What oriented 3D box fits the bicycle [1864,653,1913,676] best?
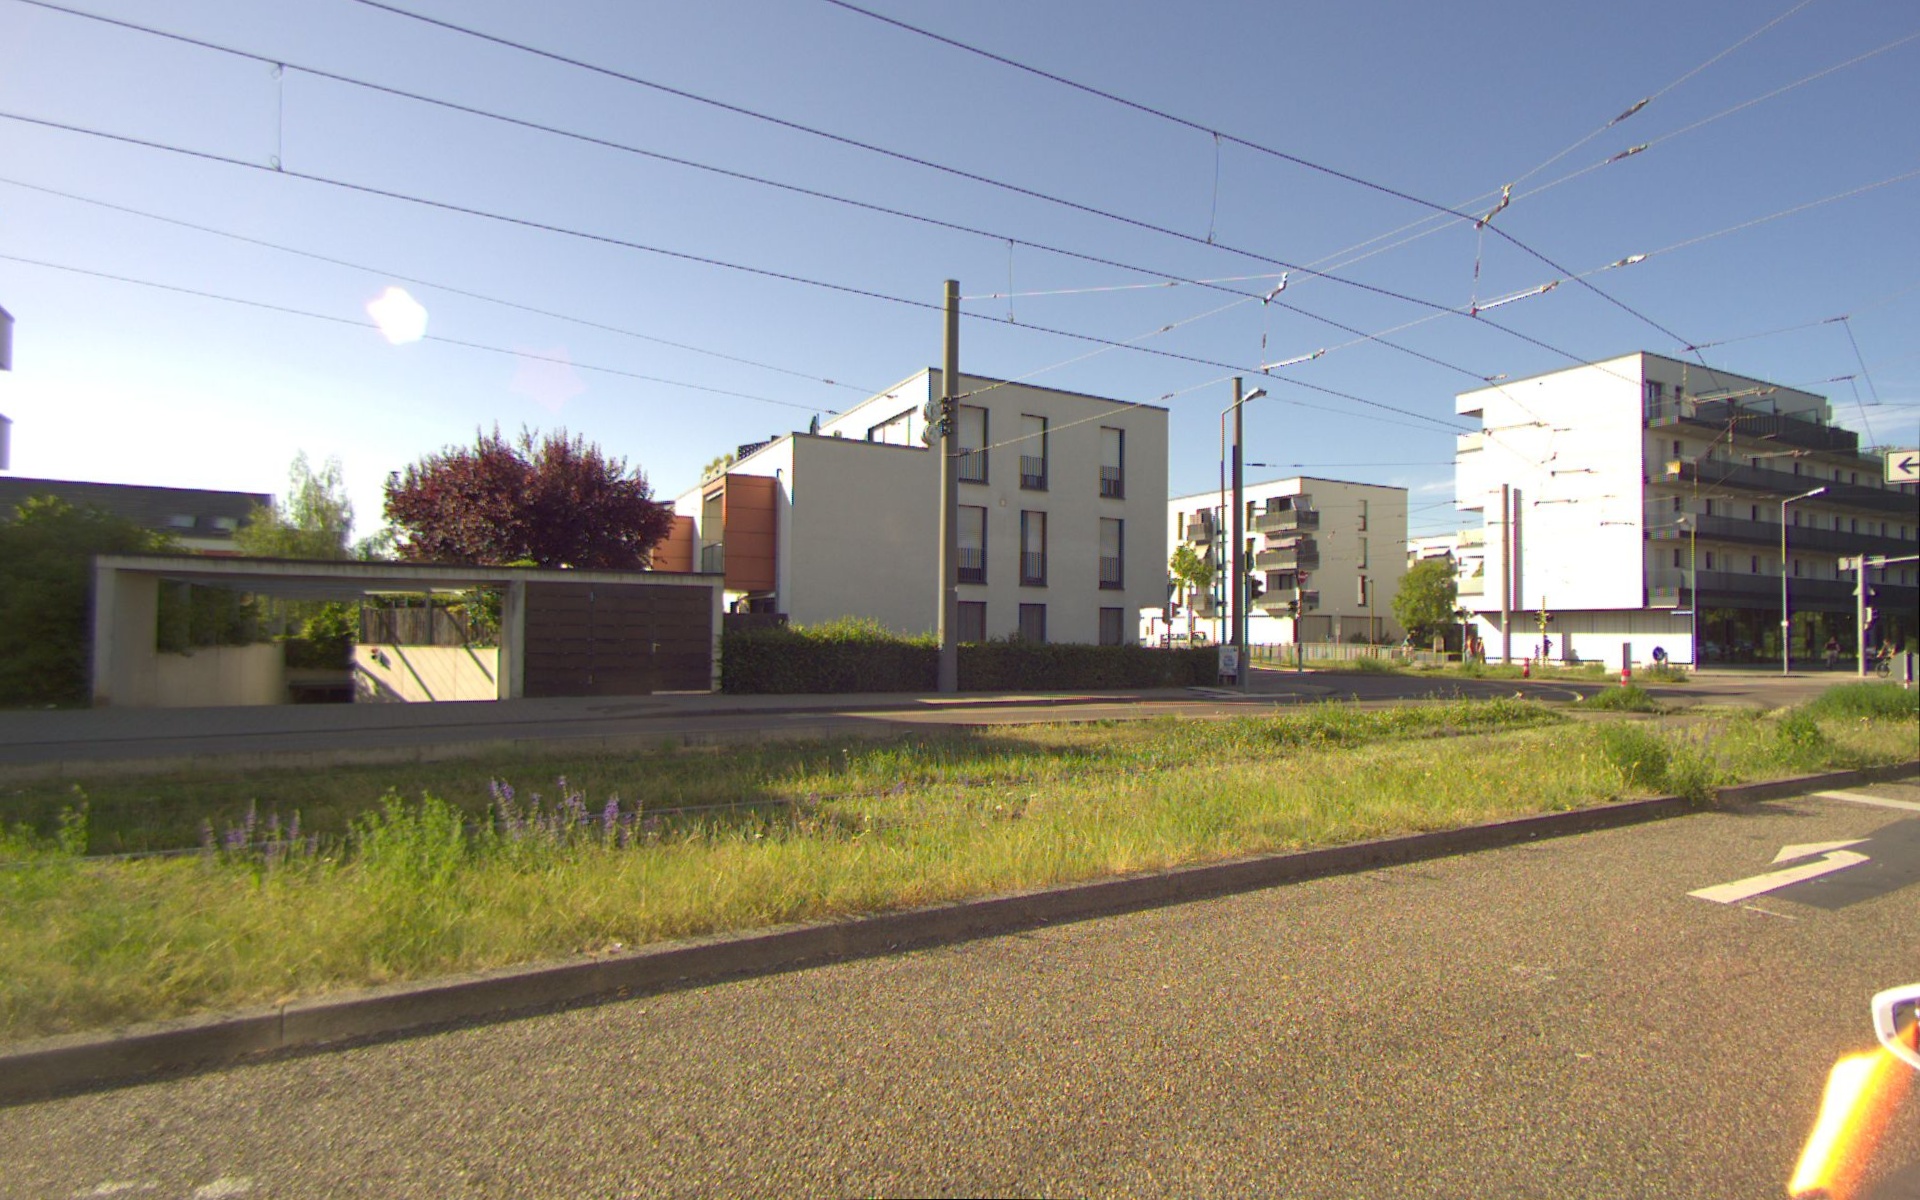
[{"bbox_3d":[43.264,3.007,46.789,2.397,1.002,0.769,2,0,-23],"label":"bicycle"}]

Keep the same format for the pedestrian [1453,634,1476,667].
[{"bbox_3d":[25.454,2.532,50.709,0.736,1.626,0.765,2,0,-37],"label":"pedestrian"}]

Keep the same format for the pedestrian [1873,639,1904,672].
[{"bbox_3d":[43.242,2.580,46.768,0.940,1.493,0.710,2,0,-23],"label":"pedestrian"}]

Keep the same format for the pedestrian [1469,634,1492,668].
[{"bbox_3d":[25.896,2.542,49.995,0.736,1.626,0.765,2,0,-37],"label":"pedestrian"}]

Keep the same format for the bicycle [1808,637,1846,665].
[{"bbox_3d":[43.844,2.565,50.777,1.884,1.350,0.629,2,0,-22],"label":"bicycle"}]

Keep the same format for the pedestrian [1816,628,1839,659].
[{"bbox_3d":[43.872,2.205,50.789,0.587,1.529,0.641,2,0,-22],"label":"pedestrian"}]

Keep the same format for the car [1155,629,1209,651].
[{"bbox_3d":[17.697,3.184,80.320,1.974,1.595,4.309,2,0,-27],"label":"car"}]

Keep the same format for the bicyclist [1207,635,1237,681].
[{"bbox_3d":[9.592,2.129,36.786,0.773,1.635,0.638,2,0,-19],"label":"bicyclist"}]

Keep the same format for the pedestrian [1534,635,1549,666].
[{"bbox_3d":[33.475,2.895,57.857,0.513,1.767,0.539,2,0,-35],"label":"pedestrian"}]

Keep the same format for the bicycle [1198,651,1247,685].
[{"bbox_3d":[9.587,2.475,36.754,0.810,1.139,1.851,2,0,-21],"label":"bicycle"}]

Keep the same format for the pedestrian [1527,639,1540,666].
[{"bbox_3d":[32.956,3.030,57.692,0.513,1.523,0.438,2,0,-35],"label":"pedestrian"}]
